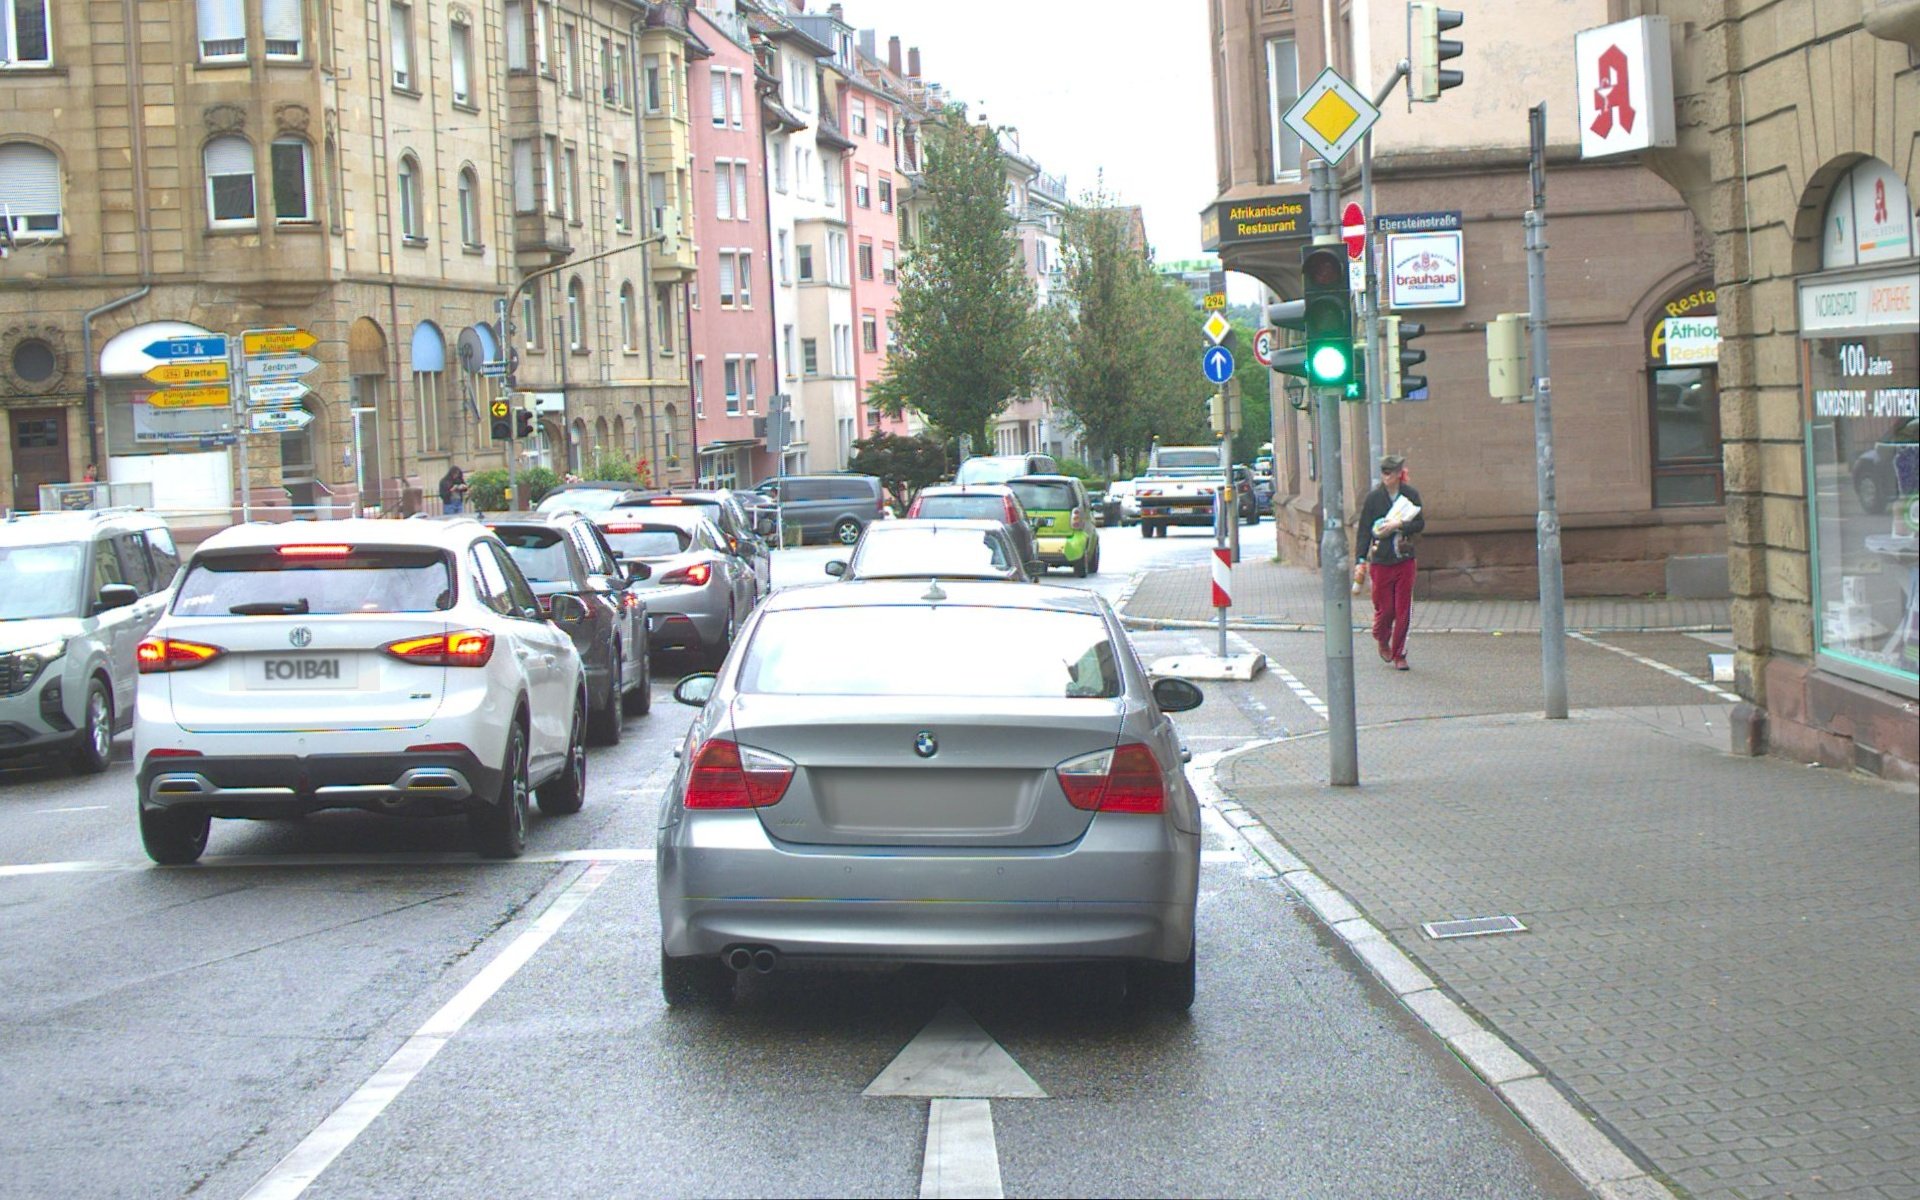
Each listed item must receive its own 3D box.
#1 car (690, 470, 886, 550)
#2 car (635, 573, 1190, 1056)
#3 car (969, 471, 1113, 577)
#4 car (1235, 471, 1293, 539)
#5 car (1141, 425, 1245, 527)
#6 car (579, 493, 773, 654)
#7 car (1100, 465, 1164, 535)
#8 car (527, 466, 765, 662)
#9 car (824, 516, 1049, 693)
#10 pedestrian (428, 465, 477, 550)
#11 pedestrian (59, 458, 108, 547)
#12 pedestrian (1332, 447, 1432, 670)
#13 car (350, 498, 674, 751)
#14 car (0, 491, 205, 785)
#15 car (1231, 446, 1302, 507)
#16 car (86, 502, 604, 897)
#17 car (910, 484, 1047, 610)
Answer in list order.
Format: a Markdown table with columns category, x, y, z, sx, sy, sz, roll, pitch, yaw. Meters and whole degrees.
| category | x | y | z | sx | sy | sz | roll | pitch | yaw |
| --- | --- | --- | --- | --- | --- | --- | --- | --- | --- |
| car | -4.643 | -2.443 | 93.536 | 5.176 | 2.007 | 2.698 | 1 | 0 | 0 |
| car | -0.100 | 0.619 | 11.916 | 1.623 | 1.378 | 3.615 | 0 | 1 | 1 |
| car | 1.297 | -1.182 | 53.440 | 1.760 | 1.562 | 3.999 | 0 | 1 | 8 |
| car | 9.639 | -2.987 | 108.769 | 1.725 | 2.007 | 3.999 | 1 | 0 | 6 |
| car | 5.026 | -2.671 | 74.675 | 1.993 | 2.099 | 4.000 | 0 | 0 | 0 |
| car | -3.142 | -0.320 | 38.728 | 1.759 | 1.702 | 4.000 | 0 | 1 | 1 |
| car | 5.342 | -3.068 | 106.349 | 1.725 | 2.007 | 3.999 | 1 | 0 | 6 |
| car | -2.854 | -0.349 | 32.017 | 1.759 | 1.702 | 4.000 | 0 | 1 | 1 |
| car | -0.142 | 0.000 | 29.081 | 1.759 | 1.378 | 4.000 | 0 | 1 | 1 |
| pedestrian | -9.474 | -1.724 | 64.180 | 0.732 | 1.572 | 0.528 | -1 | 1 | 9 |
| pedestrian | -15.803 | -1.750 | 61.990 | 0.717 | 1.572 | 0.538 | -2 | 1 | -27 |
| pedestrian | 3.680 | -0.365 | 30.014 | 0.742 | 1.903 | 0.659 | -2 | 1 | -1 |
| car | -3.190 | 0.131 | 25.203 | 1.759 | 1.702 | 4.000 | 0 | 1 | 1 |
| car | -6.786 | 0.224 | 24.709 | 1.761 | 1.919 | 4.324 | -2 | 1 | -1 |
| car | 8.523 | -3.426 | 95.881 | 1.725 | 1.547 | 4.000 | 1 | 0 | 2 |
| car | -2.970 | 0.394 | 17.465 | 1.868 | 1.620 | 4.001 | -2 | 3 | 0 |
| car | 0.267 | -0.674 | 42.688 | 1.595 | 1.459 | 4.000 | -1 | 1 | 1 |
